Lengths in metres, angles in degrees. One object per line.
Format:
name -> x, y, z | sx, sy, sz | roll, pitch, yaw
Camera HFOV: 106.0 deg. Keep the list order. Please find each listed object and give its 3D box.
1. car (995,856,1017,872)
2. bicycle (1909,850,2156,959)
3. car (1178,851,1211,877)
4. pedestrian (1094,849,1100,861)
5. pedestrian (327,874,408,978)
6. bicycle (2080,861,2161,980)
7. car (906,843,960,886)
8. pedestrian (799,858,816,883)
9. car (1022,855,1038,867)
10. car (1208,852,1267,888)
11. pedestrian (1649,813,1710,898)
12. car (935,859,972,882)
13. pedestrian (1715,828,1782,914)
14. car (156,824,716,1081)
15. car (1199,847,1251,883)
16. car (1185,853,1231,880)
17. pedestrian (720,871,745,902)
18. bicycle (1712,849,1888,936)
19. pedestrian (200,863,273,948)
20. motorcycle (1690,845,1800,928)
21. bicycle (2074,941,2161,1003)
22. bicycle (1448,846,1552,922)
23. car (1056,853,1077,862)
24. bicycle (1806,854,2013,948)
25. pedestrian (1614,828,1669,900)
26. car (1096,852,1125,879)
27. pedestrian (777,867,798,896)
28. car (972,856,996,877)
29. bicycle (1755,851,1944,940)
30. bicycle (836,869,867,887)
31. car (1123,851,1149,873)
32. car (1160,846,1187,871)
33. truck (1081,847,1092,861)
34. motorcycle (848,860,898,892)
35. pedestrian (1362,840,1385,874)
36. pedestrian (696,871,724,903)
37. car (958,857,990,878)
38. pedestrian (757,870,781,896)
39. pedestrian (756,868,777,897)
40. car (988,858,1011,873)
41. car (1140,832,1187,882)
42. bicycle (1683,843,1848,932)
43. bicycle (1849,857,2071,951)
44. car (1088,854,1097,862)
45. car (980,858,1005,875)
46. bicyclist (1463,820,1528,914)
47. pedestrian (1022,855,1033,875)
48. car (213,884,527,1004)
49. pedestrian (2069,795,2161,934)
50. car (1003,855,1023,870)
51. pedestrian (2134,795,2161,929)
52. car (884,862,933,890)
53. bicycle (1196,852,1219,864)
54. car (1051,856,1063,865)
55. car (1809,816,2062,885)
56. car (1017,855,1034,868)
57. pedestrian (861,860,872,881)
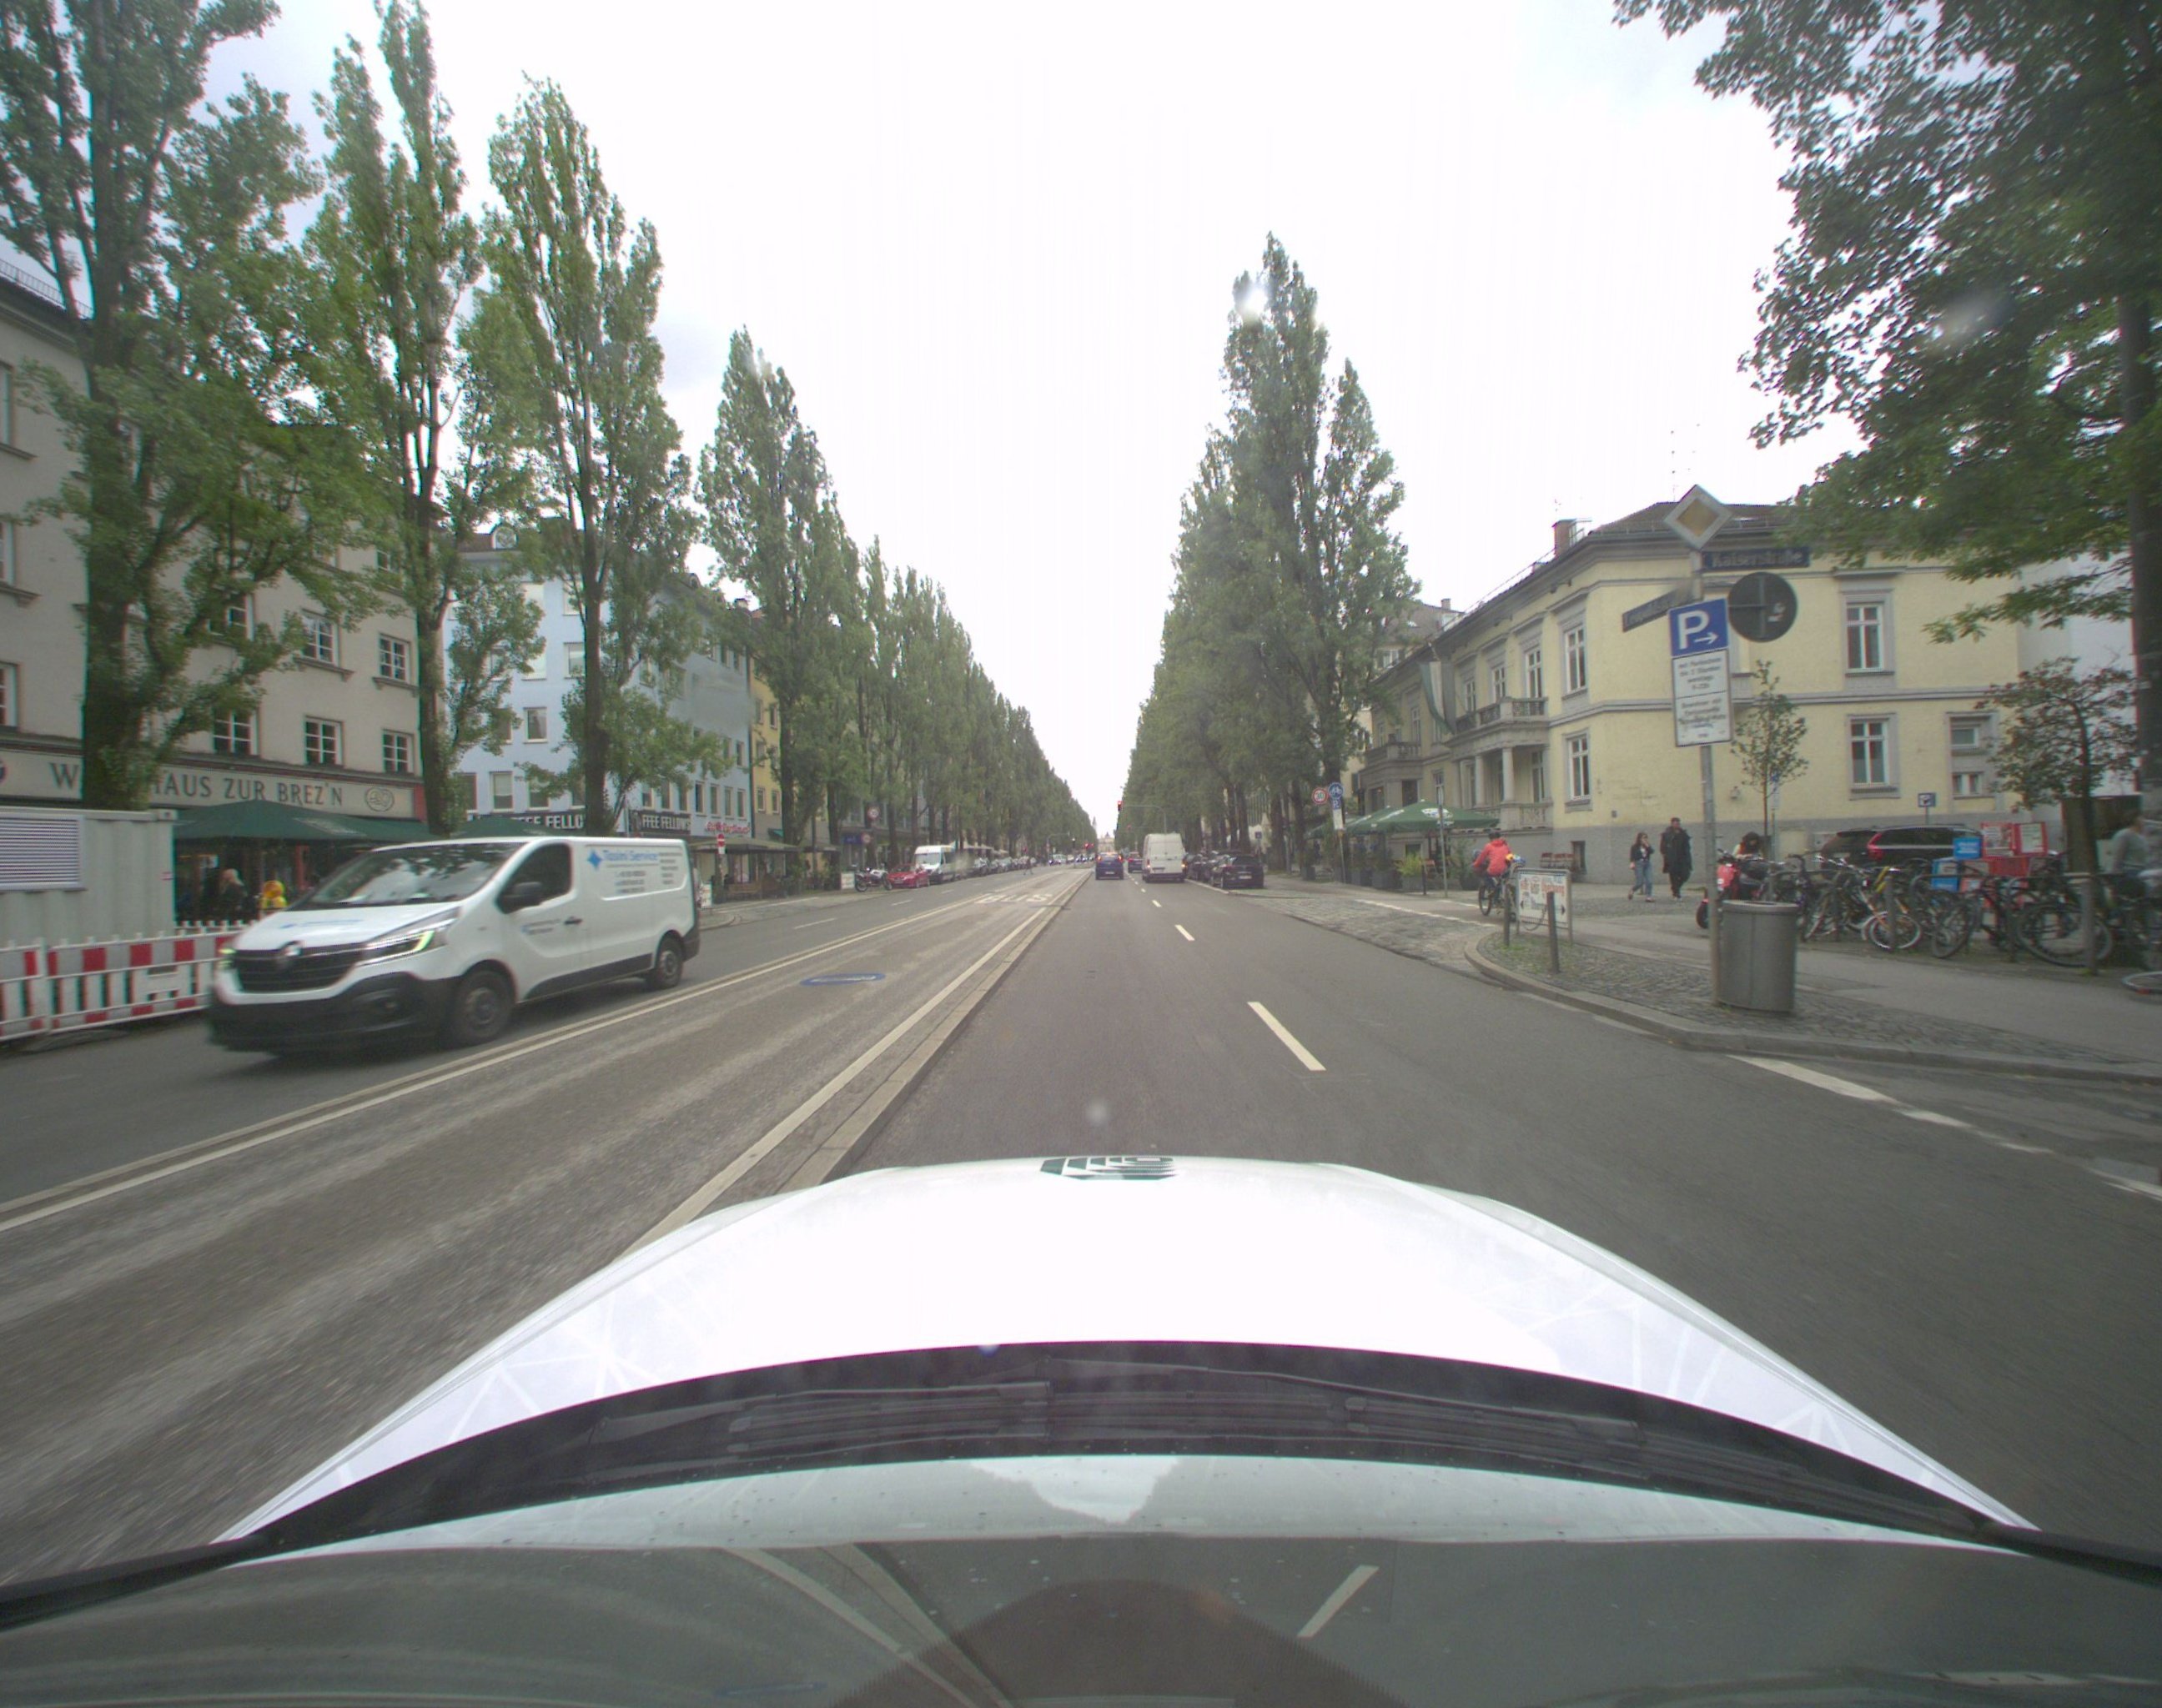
car -> -8.411, 1.089, 91.296 | 1.859, 1.665, 4.402 | -4, 0, 2
bicycle -> 10.266, 0.530, 8.825 | 1.933, 1.084, 0.561 | -2, 0, 2
car -> 6.790, 0.589, 48.892 | 1.587, 1.518, 2.729 | -1, 0, -1
pedestrian -> 2.460, 0.211, 125.778 | 0.719, 1.827, 0.885 | 0, -1, -8
pedestrian -> -12.432, 1.228, 14.207 | 0.695, 1.726, 0.732 | -2, 0, -1
bicycle -> 10.003, 0.574, 7.391 | 1.595, 1.010, 0.341 | -2, 0, -6
car -> -9.773, 0.622, 54.458 | 1.998, 2.567, 6.915 | -4, 0, 2
pedestrian -> -18.146, 1.106, 54.027 | 0.691, 1.636, 0.731 | -3, 0, 26
car -> -7.515, 0.993, 121.119 | 1.859, 1.665, 4.122 | -4, 0, 2
car -> 6.578, 0.640, 34.591 | 1.688, 1.416, 3.951 | -2, 0, 0
pedestrian -> 14.060, 0.046, 19.161 | 0.835, 1.949, 0.802 | 0, -1, 0
car -> -9.613, 1.210, 61.556 | 1.859, 1.552, 4.416 | -4, 0, 2
pedestrian -> 12.536, 0.312, 15.304 | 0.740, 1.571, 0.615 | 0, -1, 4
car -> -6.234, 0.770, 8.960 | 1.885, 1.932, 5.074 | -3, 0, 2
car -> 6.967, 0.532, 39.785 | 1.797, 1.637, 4.447 | -1, 0, 0
car -> 6.949, 0.669, 45.097 | 1.705, 1.393, 4.340 | -1, 0, -2
pedestrian -> -16.146, 1.490, 37.753 | 0.694, 1.362, 0.820 | -2, 0, 4
bicycle -> 10.188, 0.533, 11.573 | 1.933, 1.137, 0.561 | -2, 0, 2
pedestrian -> -20.056, 1.199, 19.358 | 0.694, 1.926, 0.906 | -2, 0, 4
motorcycle -> 10.655, 0.492, 13.054 | 1.963, 1.221, 0.511 | -2, 0, -24
bicycle -> 9.311, 0.938, 6.603 | 1.670, 0.373, 0.829 | -3, 0, -7
bicycle -> 8.094, 0.536, 15.888 | 0.769, 1.349, 2.450 | -2, 0, 1
car -> -2.662, 0.615, 148.605 | 3.367, 1.561, 1.728 | -2, 0, -22
bicycle -> 10.316, 0.572, 10.178 | 1.933, 1.075, 0.561 | -2, 0, 2
pedestrian -> 13.166, 0.227, 19.152 | 0.741, 1.661, 0.771 | 0, -1, 1
car -> 1.794, 0.662, 49.658 | 1.665, 1.568, 4.002 | -1, 0, 2
pedestrian -> -14.489, 1.352, 40.206 | 0.695, 1.362, 0.848 | -2, 0, 1
car -> -8.912, 1.123, 75.240 | 1.704, 1.721, 3.920 | -4, 0, -1
bicycle -> 10.269, 0.544, 10.922 | 1.933, 1.089, 0.561 | -2, 0, 2
bicycle -> -14.580, 1.506, 51.698 | 1.768, 1.026, 0.421 | -3, 0, -2
car -> 4.318, 0.607, 64.806 | 1.889, 1.622, 4.002 | -1, 0, 2
car -> 7.589, 0.355, 67.106 | 1.781, 1.946, 4.732 | -2, 0, 2
truck -> 1.271, -0.023, 197.672 | 2.374, 3.346, 7.113 | -2, 0, 2
motorcycle -> -10.469, 1.095, 41.099 | 2.360, 1.563, 0.706 | -1, 0, -41
pedestrian -> 14.921, 0.150, 41.536 | 0.794, 1.677, 0.877 | -2, 0, 2
pedestrian -> -16.551, 1.467, 36.326 | 0.694, 1.362, 0.951 | -2, 0, 4
car -> -9.136, 1.127, 69.810 | 1.859, 1.664, 4.613 | -4, 0, 2
pedestrian -> -14.887, 1.395, 38.822 | 0.813, 1.182, 0.700 | -2, 0, 0
pedestrian -> -15.250, 1.369, 39.513 | 0.711, 1.362, 0.700 | -2, 0, 0
car -> -8.596, 1.211, 86.105 | 1.727, 1.425, 4.145 | -4, 0, 2
car -> 4.418, 0.150, 44.439 | 2.055, 2.492, 6.733 | -1, 0, 2
bicycle -> 10.238, 0.496, 12.216 | 1.933, 1.239, 0.561 | -2, 0, 2
bicycle -> 10.291, 0.577, 9.574 | 1.933, 1.010, 0.561 | -2, 0, 2
car -> 2.260, 0.857, 166.423 | 1.728, 1.465, 3.366 | -2, 0, 2
car -> -8.789, 1.214, 81.033 | 1.792, 1.488, 4.352 | -4, 0, 2
bicyclist -> 8.084, 0.248, 15.927 | 0.764, 1.766, 0.885 | -2, 0, 1
pedestrian -> -4.602, 0.929, 70.312 | 0.857, 1.684, 0.626 | -2, 0, -2
car -> -11.162, 1.315, 13.205 | 1.751, 1.422, 3.783 | -3, 0, -1
pedestrian -> 13.104, 0.125, 10.257 | 0.617, 1.694, 0.573 | 0, -1, -7
car -> -8.221, 0.976, 98.178 | 1.859, 1.665, 4.122 | -4, 0, 2
pedestrian -> 13.921, 0.099, 10.230 | 0.631, 1.694, 0.574 | 0, -1, -3
car -> -10.010, 1.231, 47.502 | 1.731, 1.419, 4.150 | -4, 0, 2
bicycle -> 13.223, 0.408, 85.065 | 2.220, 1.204, 0.626 | -3, 0, -1
car -> -4.037, 1.051, 137.283 | 1.691, 1.462, 4.714 | -4, 0, 2
car -> 22.391, -0.066, 21.519 | 4.393, 1.702, 1.974 | 0, -1, 5
car -> -7.749, 0.999, 113.843 | 1.859, 1.665, 4.122 | -4, 0, 2
pedestrian -> -18.709, 1.420, 71.045 | 0.694, 1.795, 0.728 | -2, 0, 6
